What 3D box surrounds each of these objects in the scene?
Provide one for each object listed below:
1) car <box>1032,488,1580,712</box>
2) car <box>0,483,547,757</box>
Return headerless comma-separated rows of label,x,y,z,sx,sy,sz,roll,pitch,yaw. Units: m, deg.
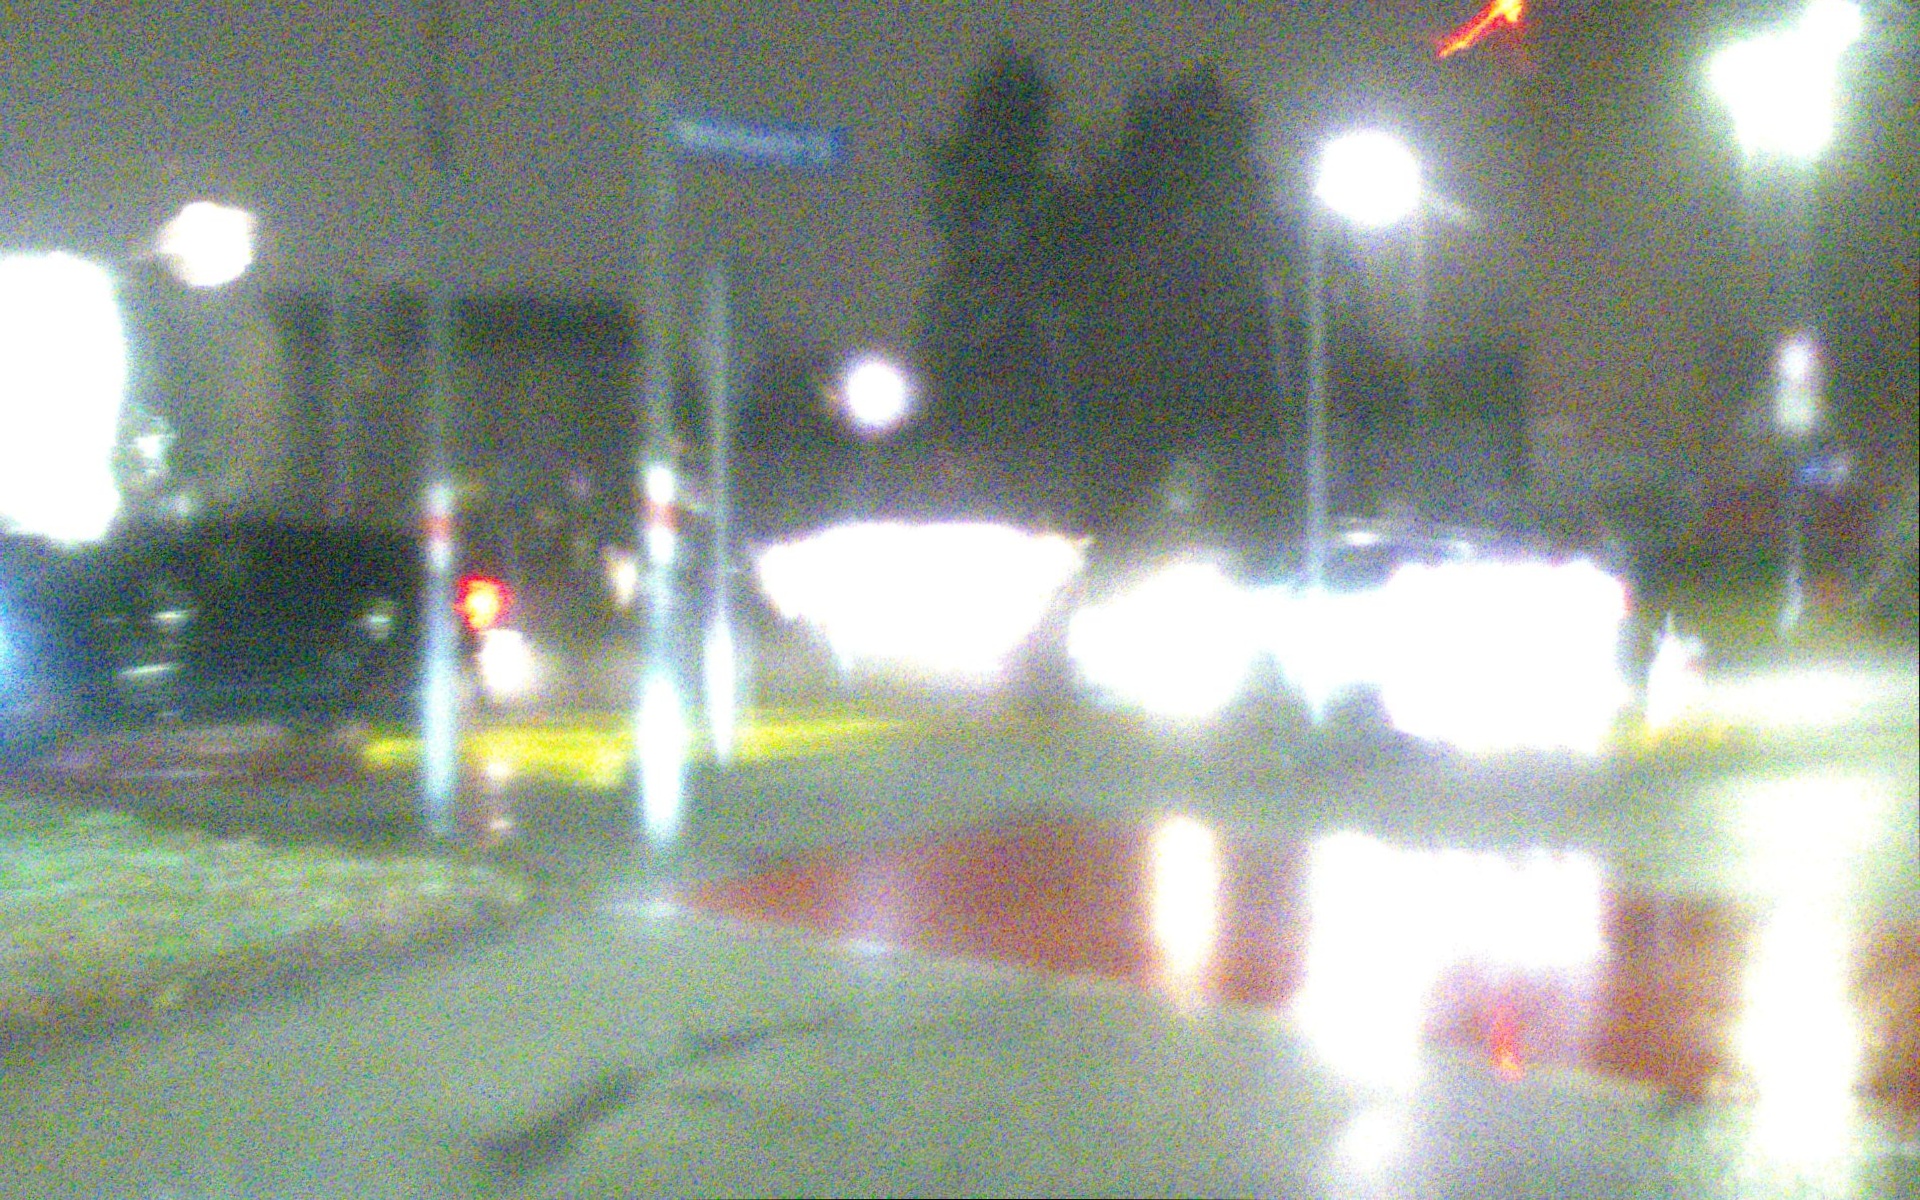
car,2.973,-0.050,29.249,4.380,1.752,1.878,-1,3,-32
car,-5.358,0.087,23.498,4.604,1.730,2.000,0,3,-29
